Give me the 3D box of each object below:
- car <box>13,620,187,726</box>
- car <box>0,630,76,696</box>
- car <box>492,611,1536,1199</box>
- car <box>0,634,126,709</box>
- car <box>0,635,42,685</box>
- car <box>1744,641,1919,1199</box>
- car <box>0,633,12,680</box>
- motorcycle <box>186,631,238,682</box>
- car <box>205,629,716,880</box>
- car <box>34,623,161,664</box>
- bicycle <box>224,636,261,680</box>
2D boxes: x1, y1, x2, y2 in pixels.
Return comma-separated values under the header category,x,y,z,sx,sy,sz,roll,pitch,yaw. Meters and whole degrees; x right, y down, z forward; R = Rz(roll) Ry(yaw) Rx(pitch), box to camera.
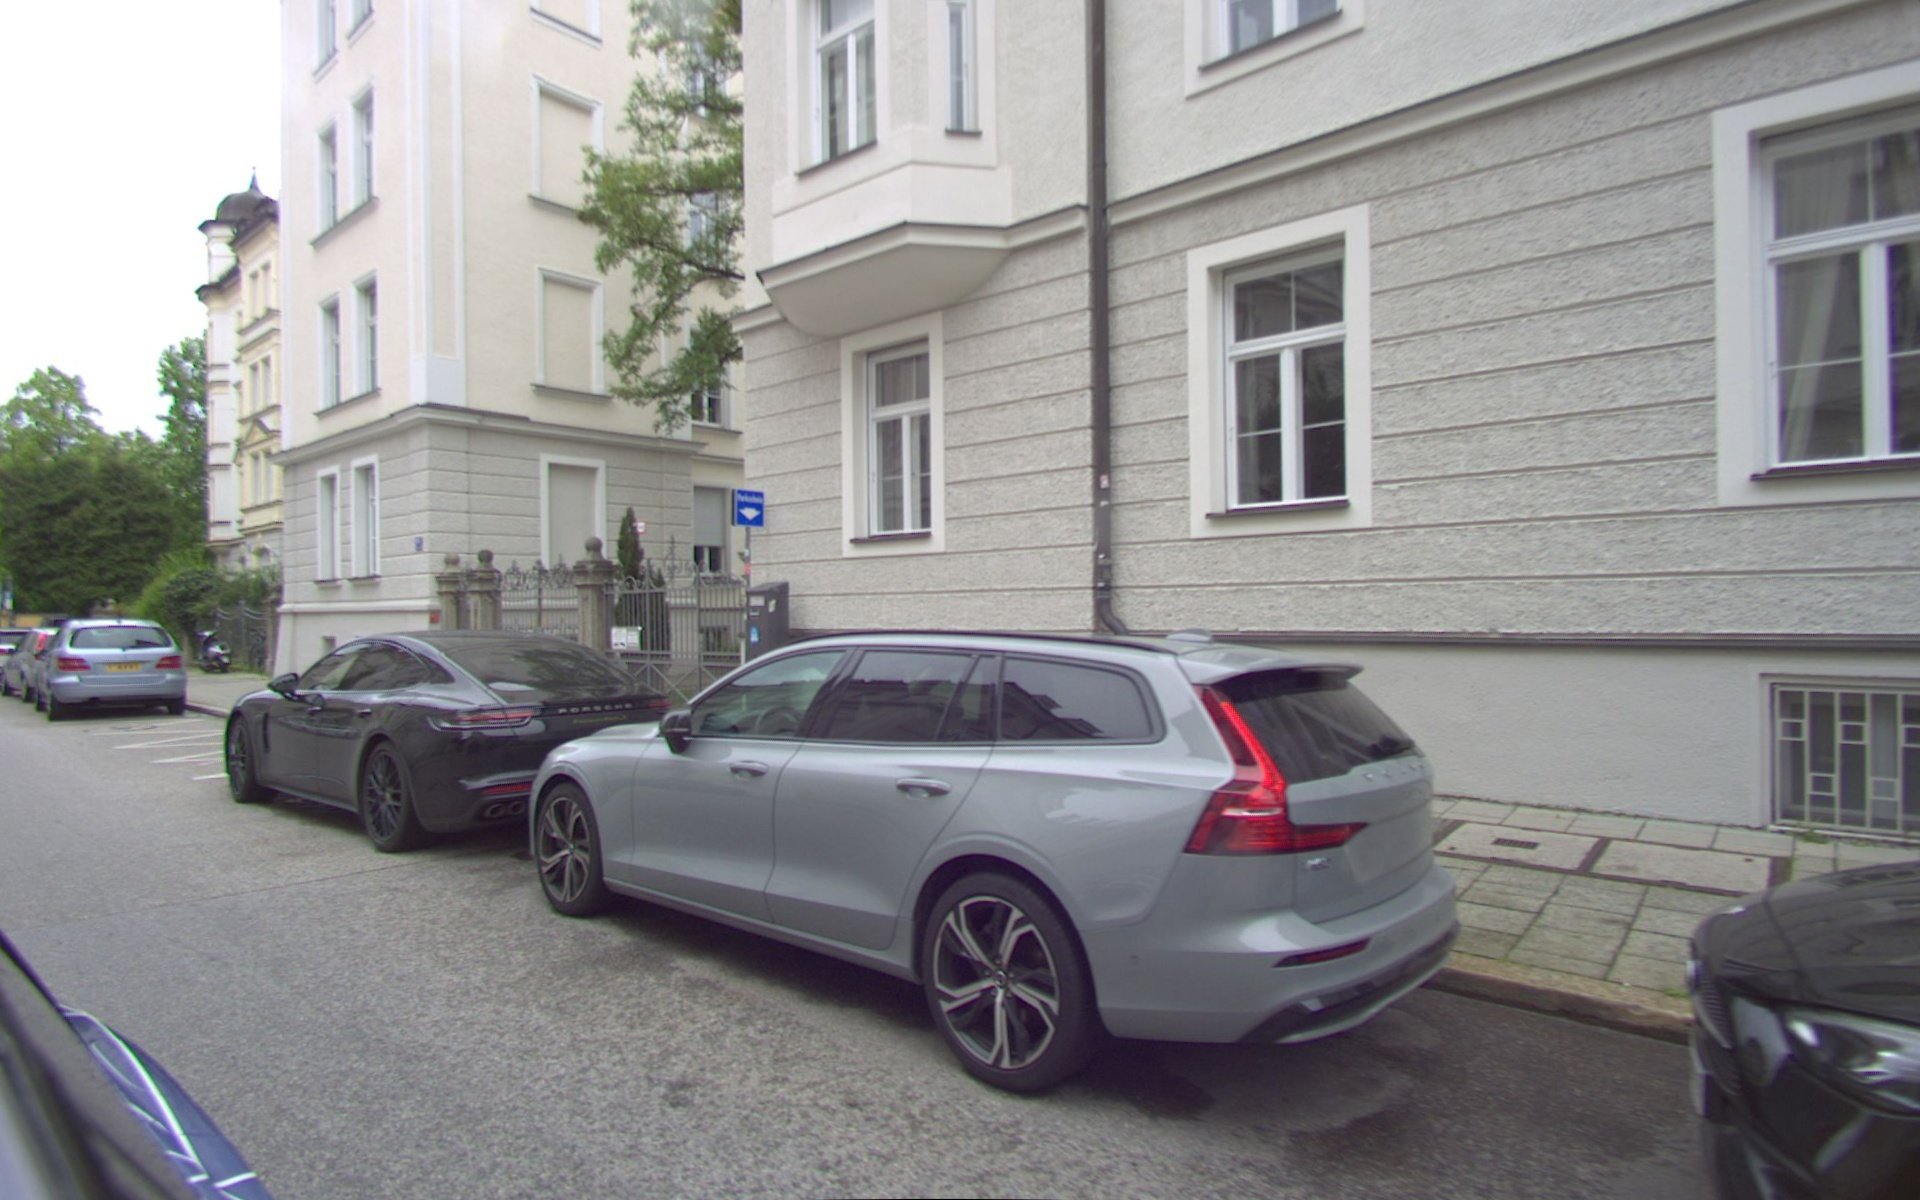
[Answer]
category,x,y,z,sx,sy,sz,roll,pitch,yaw
car,-14.796,1.204,17.346,4.060,1.593,1.678,-2,-4,42
car,-22.879,1.471,24.431,4.077,1.445,1.778,-1,-1,41
car,-0.175,0.820,4.511,4.509,1.430,1.775,-1,-4,42
car,-18.974,1.431,21.119,3.995,1.414,1.628,-2,-3,39
car,-28.379,1.731,29.521,4.188,1.375,1.718,-2,-3,39
car,3.682,0.750,1.089,4.437,1.396,1.793,-2,-3,38
car,-31.765,1.776,32.233,3.995,1.431,1.751,-1,-1,39
motorcycle,-19.928,1.486,26.941,1.819,1.259,0.697,-1,1,40
car,-4.120,0.949,7.937,4.697,1.377,1.831,-2,-1,39
car,-42.792,2.123,50.305,2.049,1.872,4.469,-2,-1,34
bicycle,-18.353,1.476,25.876,1.420,1.069,0.427,-2,2,43
